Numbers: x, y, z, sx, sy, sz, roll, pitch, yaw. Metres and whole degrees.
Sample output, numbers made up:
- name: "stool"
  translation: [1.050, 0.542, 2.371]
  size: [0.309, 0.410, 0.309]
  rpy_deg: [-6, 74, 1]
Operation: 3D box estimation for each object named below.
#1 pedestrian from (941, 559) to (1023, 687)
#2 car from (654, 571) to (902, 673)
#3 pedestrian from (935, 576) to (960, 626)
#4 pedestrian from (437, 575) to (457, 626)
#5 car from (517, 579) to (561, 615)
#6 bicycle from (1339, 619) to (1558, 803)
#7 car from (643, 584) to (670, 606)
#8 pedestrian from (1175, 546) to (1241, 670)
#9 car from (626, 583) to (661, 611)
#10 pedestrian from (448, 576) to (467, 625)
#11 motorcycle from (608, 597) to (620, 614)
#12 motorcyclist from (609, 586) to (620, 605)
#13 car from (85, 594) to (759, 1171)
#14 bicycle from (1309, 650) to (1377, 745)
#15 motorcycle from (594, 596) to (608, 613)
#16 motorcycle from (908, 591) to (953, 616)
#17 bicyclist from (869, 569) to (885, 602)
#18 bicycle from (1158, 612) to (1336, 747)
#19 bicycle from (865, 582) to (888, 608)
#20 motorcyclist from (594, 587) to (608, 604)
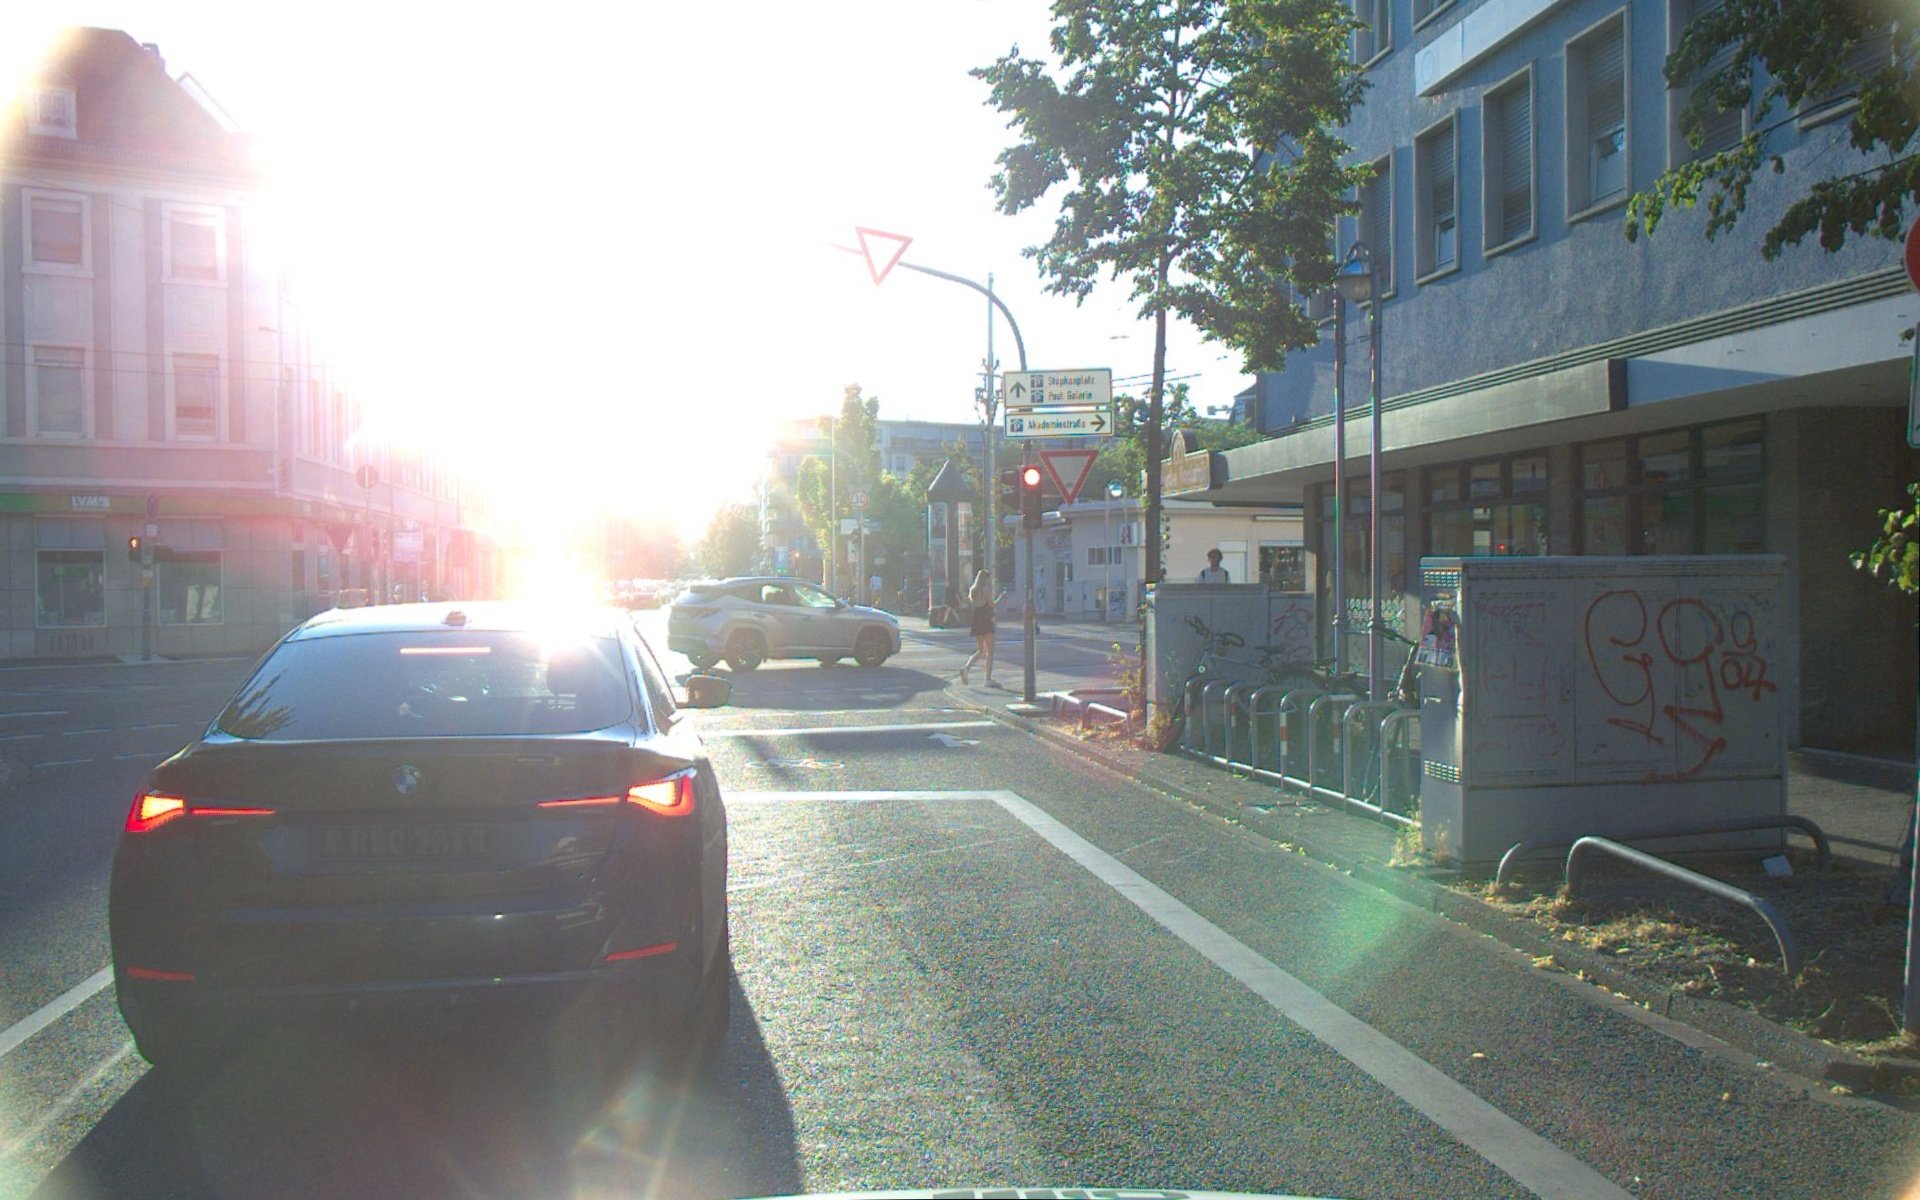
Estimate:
- name: "pedestrian"
  translation: [0.336, 0.338, 25.382]
  size: [0.990, 1.892, 0.634]
  rpy_deg: [-4, 2, -29]
- name: "car"
  translation: [-3.313, 0.353, 30.488]
  size: [4.242, 1.737, 1.784]
  rpy_deg: [-1, 1, -35]
- name: "pedestrian"
  translation: [-0.409, 0.033, 52.815]
  size: [0.719, 1.555, 0.471]
  rpy_deg: [1, 0, -10]
- name: "pedestrian"
  translation: [-19.703, 0.021, 63.519]
  size: [0.631, 1.909, 0.630]
  rpy_deg: [1, 0, -9]
- name: "car"
  translation: [-22.119, -0.183, 87.028]
  size: [1.784, 1.819, 3.992]
  rpy_deg: [-1, 1, -9]
- name: "bicycle"
  translation: [3.391, 0.765, 11.506]
  size: [1.413, 1.241, 0.383]
  rpy_deg: [1, 0, -8]
- name: "car"
  translation: [-22.557, -0.401, 122.906]
  size: [1.784, 1.545, 3.992]
  rpy_deg: [-1, 1, -9]
- name: "pedestrian"
  translation: [3.807, 0.118, 25.469]
  size: [0.820, 1.874, 0.677]
  rpy_deg: [-1, 0, -9]
- name: "car"
  translation: [-18.045, -0.178, 94.358]
  size: [1.784, 1.545, 3.992]
  rpy_deg: [-1, 1, -9]
- name: "pedestrian"
  translation: [-19.571, 0.019, 64.442]
  size: [0.605, 1.909, 0.676]
  rpy_deg: [1, 0, -13]
- name: "motorcycle"
  translation: [-19.544, 0.289, 93.460]
  size: [0.564, 0.931, 2.196]
  rpy_deg: [1, 0, -8]
- name: "motorcyclist"
  translation: [-19.519, -0.251, 93.361]
  size: [0.564, 1.013, 0.701]
  rpy_deg: [1, 0, -9]
- name: "car"
  translation: [-1.745, 0.717, 6.457]
  size: [1.705, 1.453, 4.214]
  rpy_deg: [0, 0, -10]
- name: "bicycle"
  translation: [3.551, 0.892, 15.393]
  size: [0.244, 0.810, 1.114]
  rpy_deg: [1, 0, -7]
- name: "motorcycle"
  translation: [-20.365, 0.274, 93.838]
  size: [0.564, 0.931, 2.196]
  rpy_deg: [1, 0, -8]
- name: "motorcycle"
  translation: [-1.214, 0.136, 67.837]
  size: [1.644, 0.955, 0.851]
  rpy_deg: [-1, 1, -20]
- name: "bicyclist"
  translation: [-3.805, -0.679, 75.781]
  size: [0.541, 1.507, 0.719]
  rpy_deg: [1, 0, -17]
- name: "bicycle"
  translation: [2.632, 0.717, 15.182]
  size: [1.582, 1.191, 0.318]
  rpy_deg: [-1, 0, -7]
- name: "bicycle"
  translation: [-3.820, -0.223, 75.828]
  size: [0.541, 1.179, 2.134]
  rpy_deg: [1, 0, -17]
- name: "motorcyclist"
  translation: [-20.360, -0.267, 93.824]
  size: [0.564, 0.931, 2.196]
  rpy_deg: [1, 0, -8]
